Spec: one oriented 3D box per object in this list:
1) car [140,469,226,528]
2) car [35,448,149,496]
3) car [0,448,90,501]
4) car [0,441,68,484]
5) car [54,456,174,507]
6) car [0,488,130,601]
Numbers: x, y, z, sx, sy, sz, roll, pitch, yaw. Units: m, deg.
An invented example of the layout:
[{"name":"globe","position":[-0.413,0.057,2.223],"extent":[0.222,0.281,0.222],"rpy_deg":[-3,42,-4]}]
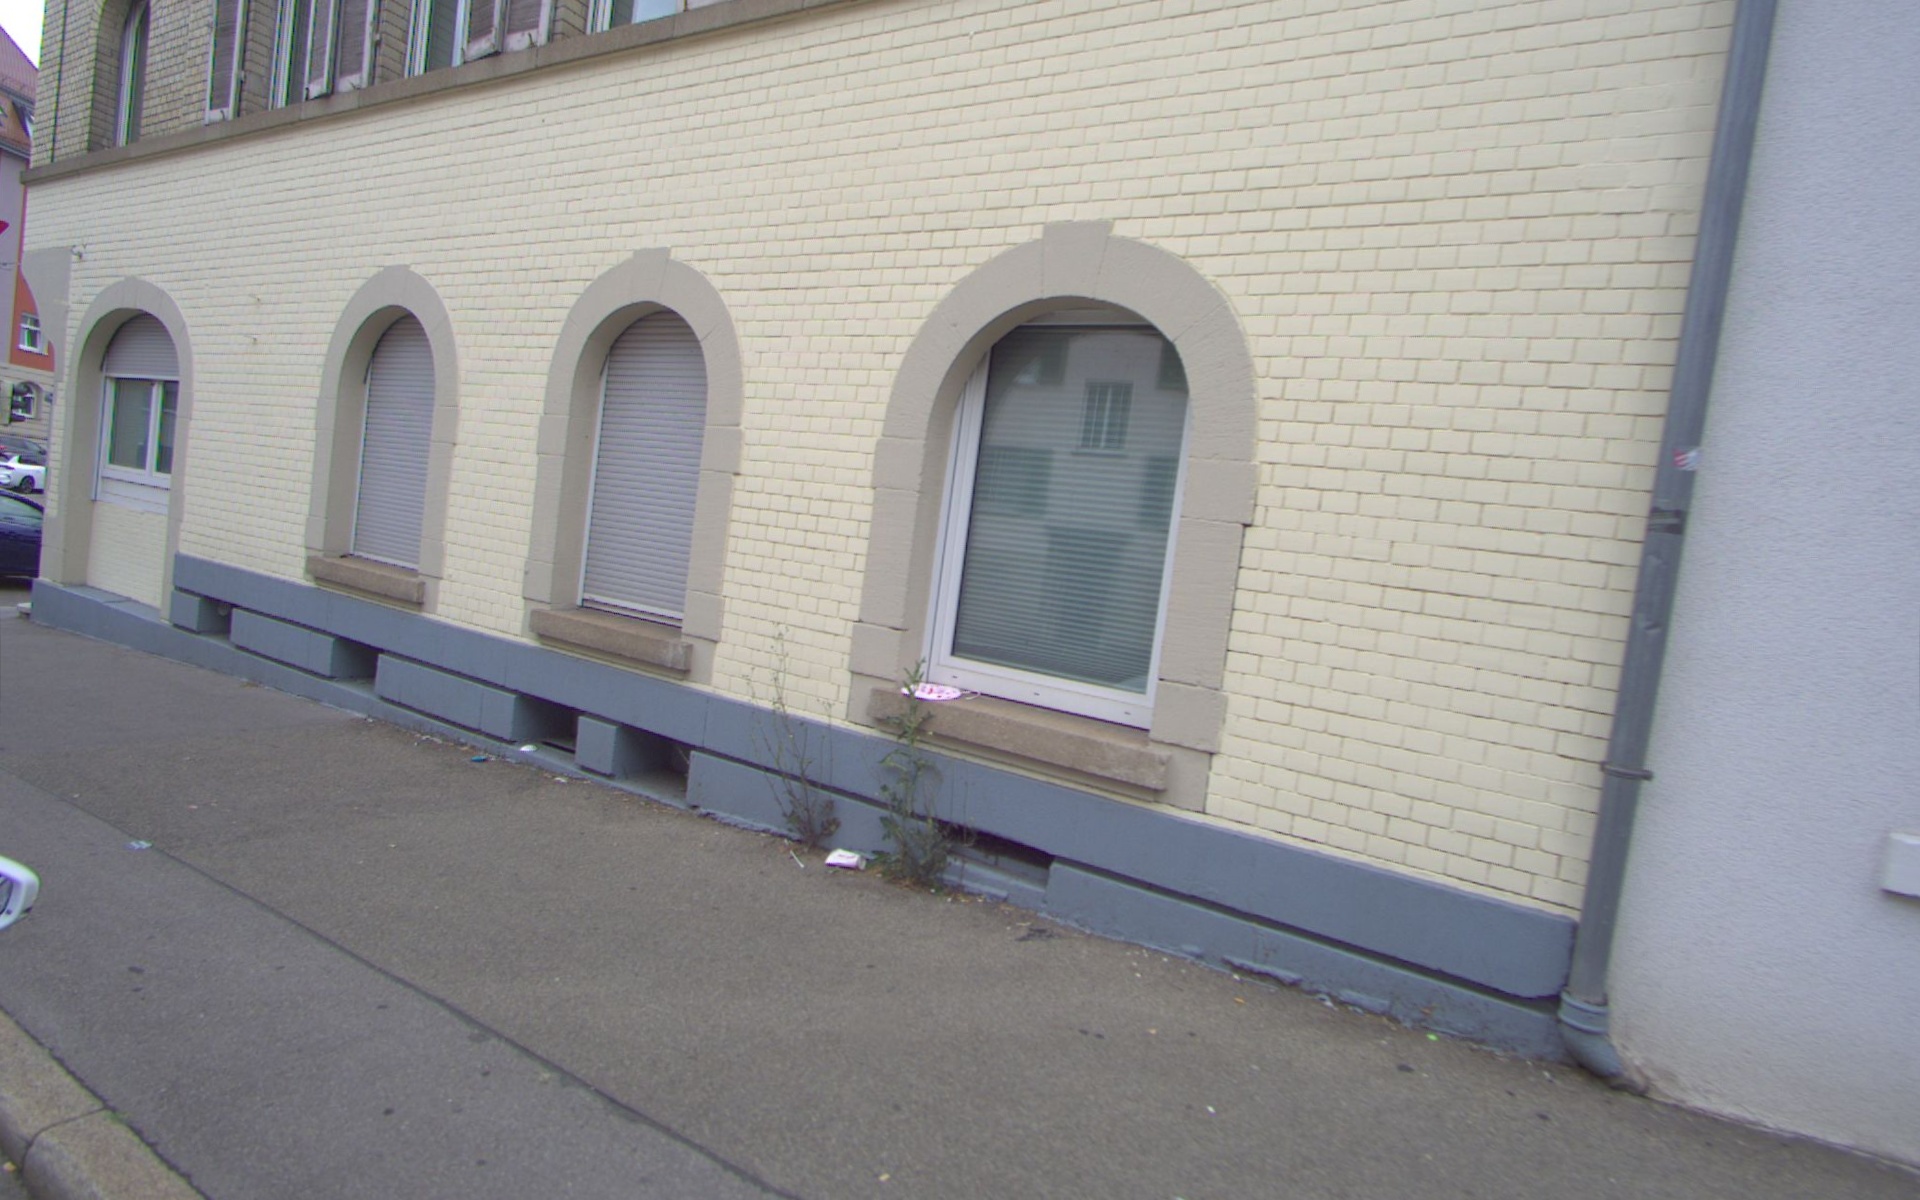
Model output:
[{"name":"car","position":[-28.196,-3.731,36.627],"extent":[1.812,1.597,4.220],"rpy_deg":[10,3,-31]},{"name":"car","position":[-43.116,-6.327,50.097],"extent":[1.884,1.653,4.137],"rpy_deg":[10,2,1]},{"name":"car","position":[-34.449,-4.639,36.939],"extent":[1.889,1.554,4.126],"rpy_deg":[10,2,-12]},{"name":"car","position":[-42.662,-6.257,45.095],"extent":[1.887,1.554,4.130],"rpy_deg":[10,2,-8]},{"name":"car","position":[-35.255,-4.899,42.072],"extent":[1.888,1.554,4.128],"rpy_deg":[10,2,-11]},{"name":"car","position":[-14.352,-0.939,14.264],"extent":[1.728,1.463,3.755],"rpy_deg":[10,-2,3]}]
